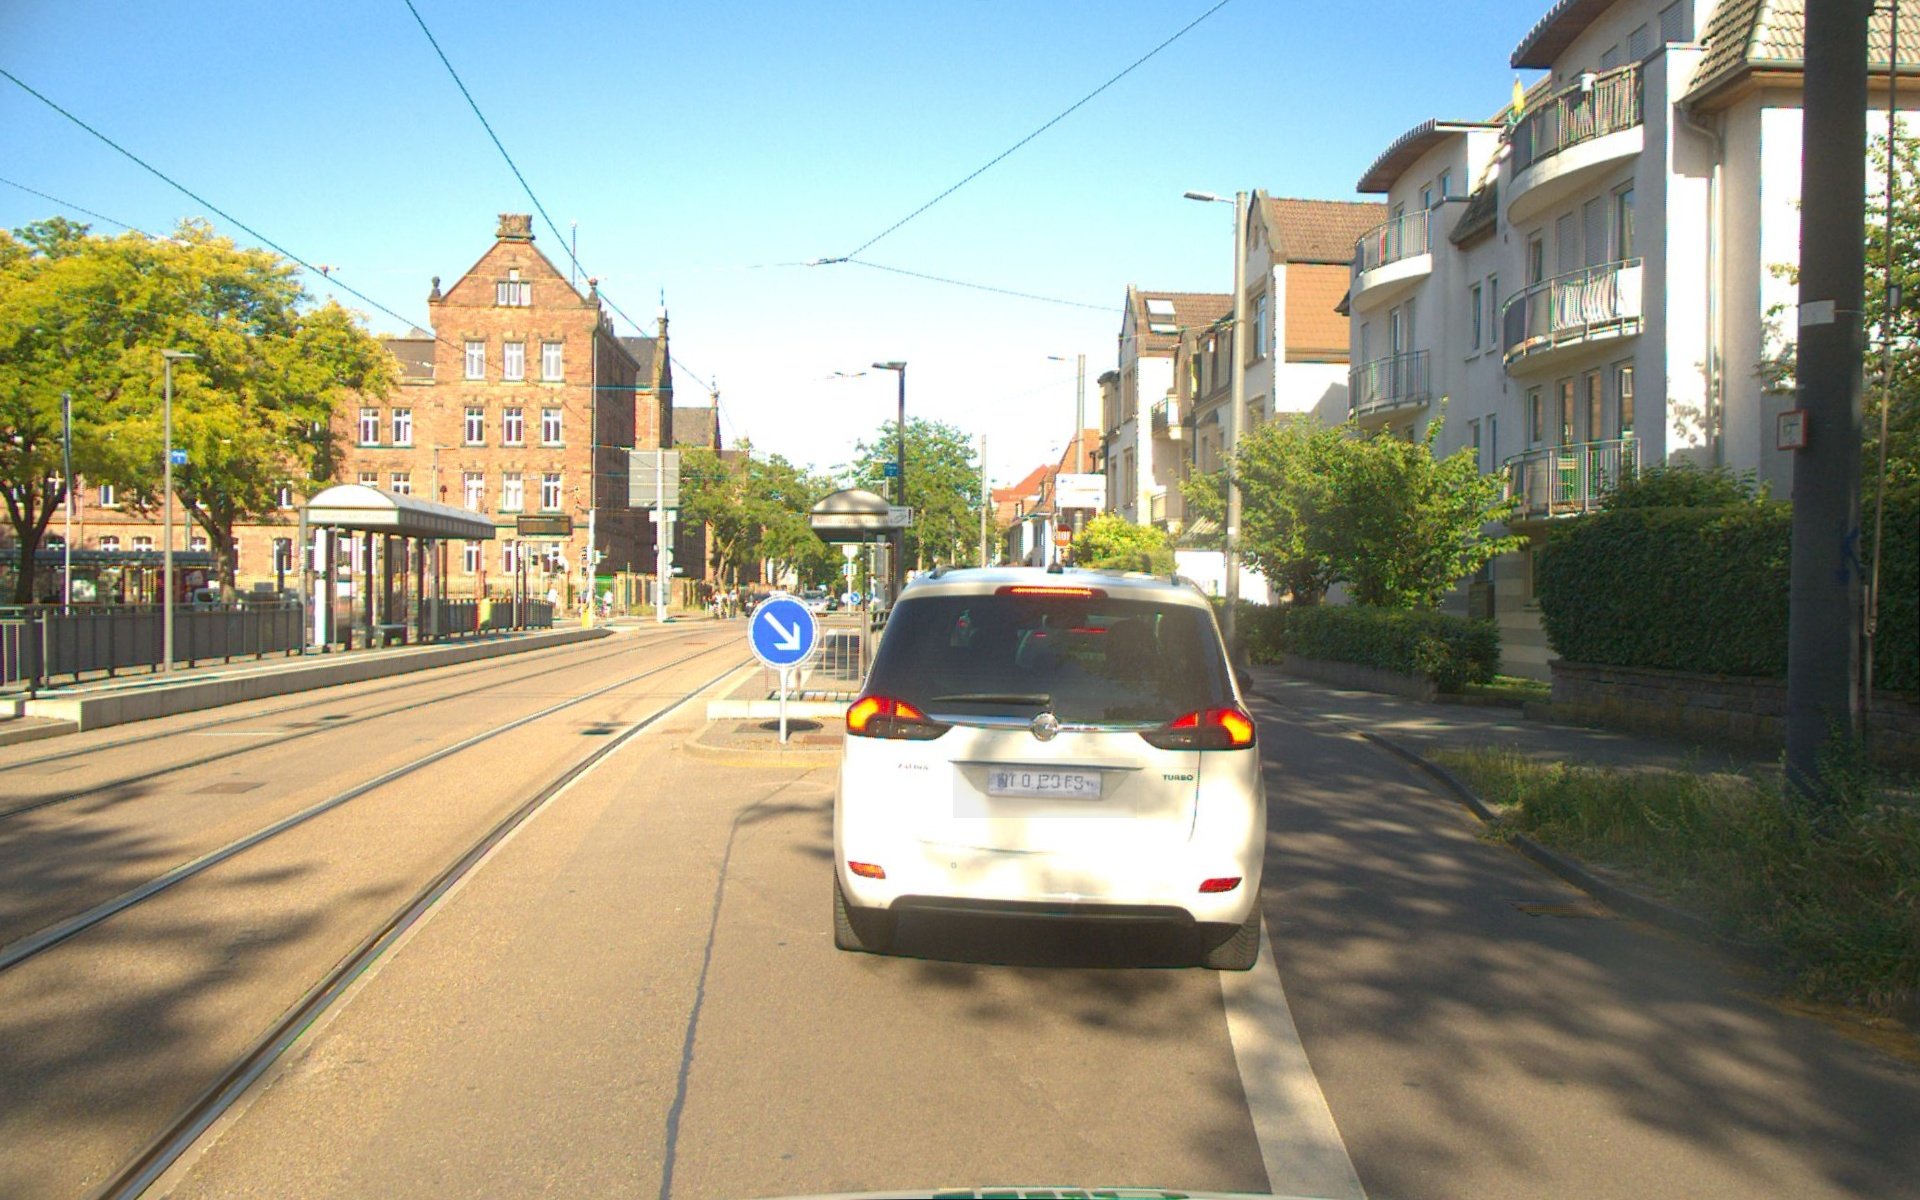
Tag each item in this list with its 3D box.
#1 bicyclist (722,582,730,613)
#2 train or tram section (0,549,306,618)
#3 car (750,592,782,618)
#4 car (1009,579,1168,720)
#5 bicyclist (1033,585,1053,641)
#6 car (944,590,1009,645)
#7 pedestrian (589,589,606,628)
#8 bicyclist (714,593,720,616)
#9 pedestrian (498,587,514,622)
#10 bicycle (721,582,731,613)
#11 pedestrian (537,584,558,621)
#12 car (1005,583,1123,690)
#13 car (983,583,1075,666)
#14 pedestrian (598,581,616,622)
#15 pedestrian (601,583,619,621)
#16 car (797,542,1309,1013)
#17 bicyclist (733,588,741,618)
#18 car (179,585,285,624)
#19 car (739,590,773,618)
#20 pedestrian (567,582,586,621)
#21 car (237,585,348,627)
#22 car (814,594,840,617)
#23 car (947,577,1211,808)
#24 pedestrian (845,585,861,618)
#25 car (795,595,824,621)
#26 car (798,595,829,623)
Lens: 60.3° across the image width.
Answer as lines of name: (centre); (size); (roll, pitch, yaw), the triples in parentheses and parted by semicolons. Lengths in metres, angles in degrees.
bicyclist: (-15.391, -0.162, 108.856); (0.488, 2.049, 0.572); (0, 0, -1)
train or tram section: (-40.748, -0.781, 79.424); (17.048, 3.210, 3.343); (0, 0, -6)
car: (-13.304, 0.334, 113.500); (1.711, 1.746, 3.999); (1, 0, -1)
car: (1.745, 0.580, 21.626); (1.866, 1.653, 4.003); (0, 0, 6)
bicyclist: (2.572, 0.389, 50.979); (0.603, 1.716, 0.779); (0, 0, 3)
car: (0.501, 0.544, 53.083); (1.869, 1.690, 3.998); (0, 0, -2)
pedestrian: (-19.300, 0.463, 88.016); (0.781, 2.049, 1.042); (1, -1, -15)
bicyclist: (-15.108, 0.270, 102.975); (0.307, 1.469, 0.384); (0, 0, -1)
pedestrian: (-23.603, 0.233, 85.927); (0.754, 1.805, 0.717); (1, -1, -18)
bicycle: (-15.388, -0.162, 108.878); (0.477, 2.049, 1.405); (0, 0, -1)
pedestrian: (-22.115, 0.123, 88.695); (0.791, 1.934, 0.744); (1, -1, 13)
car: (1.785, 0.570, 28.287); (1.867, 1.690, 4.002); (0, 0, 4)
car: (1.443, 0.495, 36.120); (1.868, 1.690, 4.000); (0, 0, 0)
pedestrian: (-18.082, 0.071, 84.694); (0.782, 2.049, 0.717); (1, -1, -18)
pedestrian: (-18.827, 0.103, 89.075); (0.785, 2.049, 0.715); (1, -1, -25)
car: (0.547, 0.628, 8.044); (1.866, 1.690, 4.003); (0, 0, 6)
bicyclist: (-15.014, 0.212, 111.349); (0.478, 2.049, 0.502); (1, -1, -1)
car: (-32.447, 0.203, 73.822); (3.908, 1.658, 1.817); (1, 0, -4)
car: (-13.158, 0.276, 106.835); (1.711, 1.746, 3.999); (1, 0, -1)
pedestrian: (-20.431, 0.071, 88.153); (0.788, 2.049, 0.712); (1, -1, -34)
car: (-28.116, 0.251, 69.748); (3.908, 1.658, 1.817); (1, 0, -4)
car: (-10.353, 0.417, 128.901); (1.711, 1.746, 3.999); (1, 0, -1)
car: (1.064, 0.643, 13.775); (1.866, 1.625, 4.003); (0, 0, 6)
pedestrian: (-6.443, 0.093, 99.669); (0.731, 1.934, 0.804); (1, -1, -24)
car: (-10.467, 0.575, 115.045); (1.711, 1.746, 3.999); (1, 0, -1)
car: (-9.446, 0.597, 106.862); (1.711, 1.746, 3.999); (1, 0, -1)
